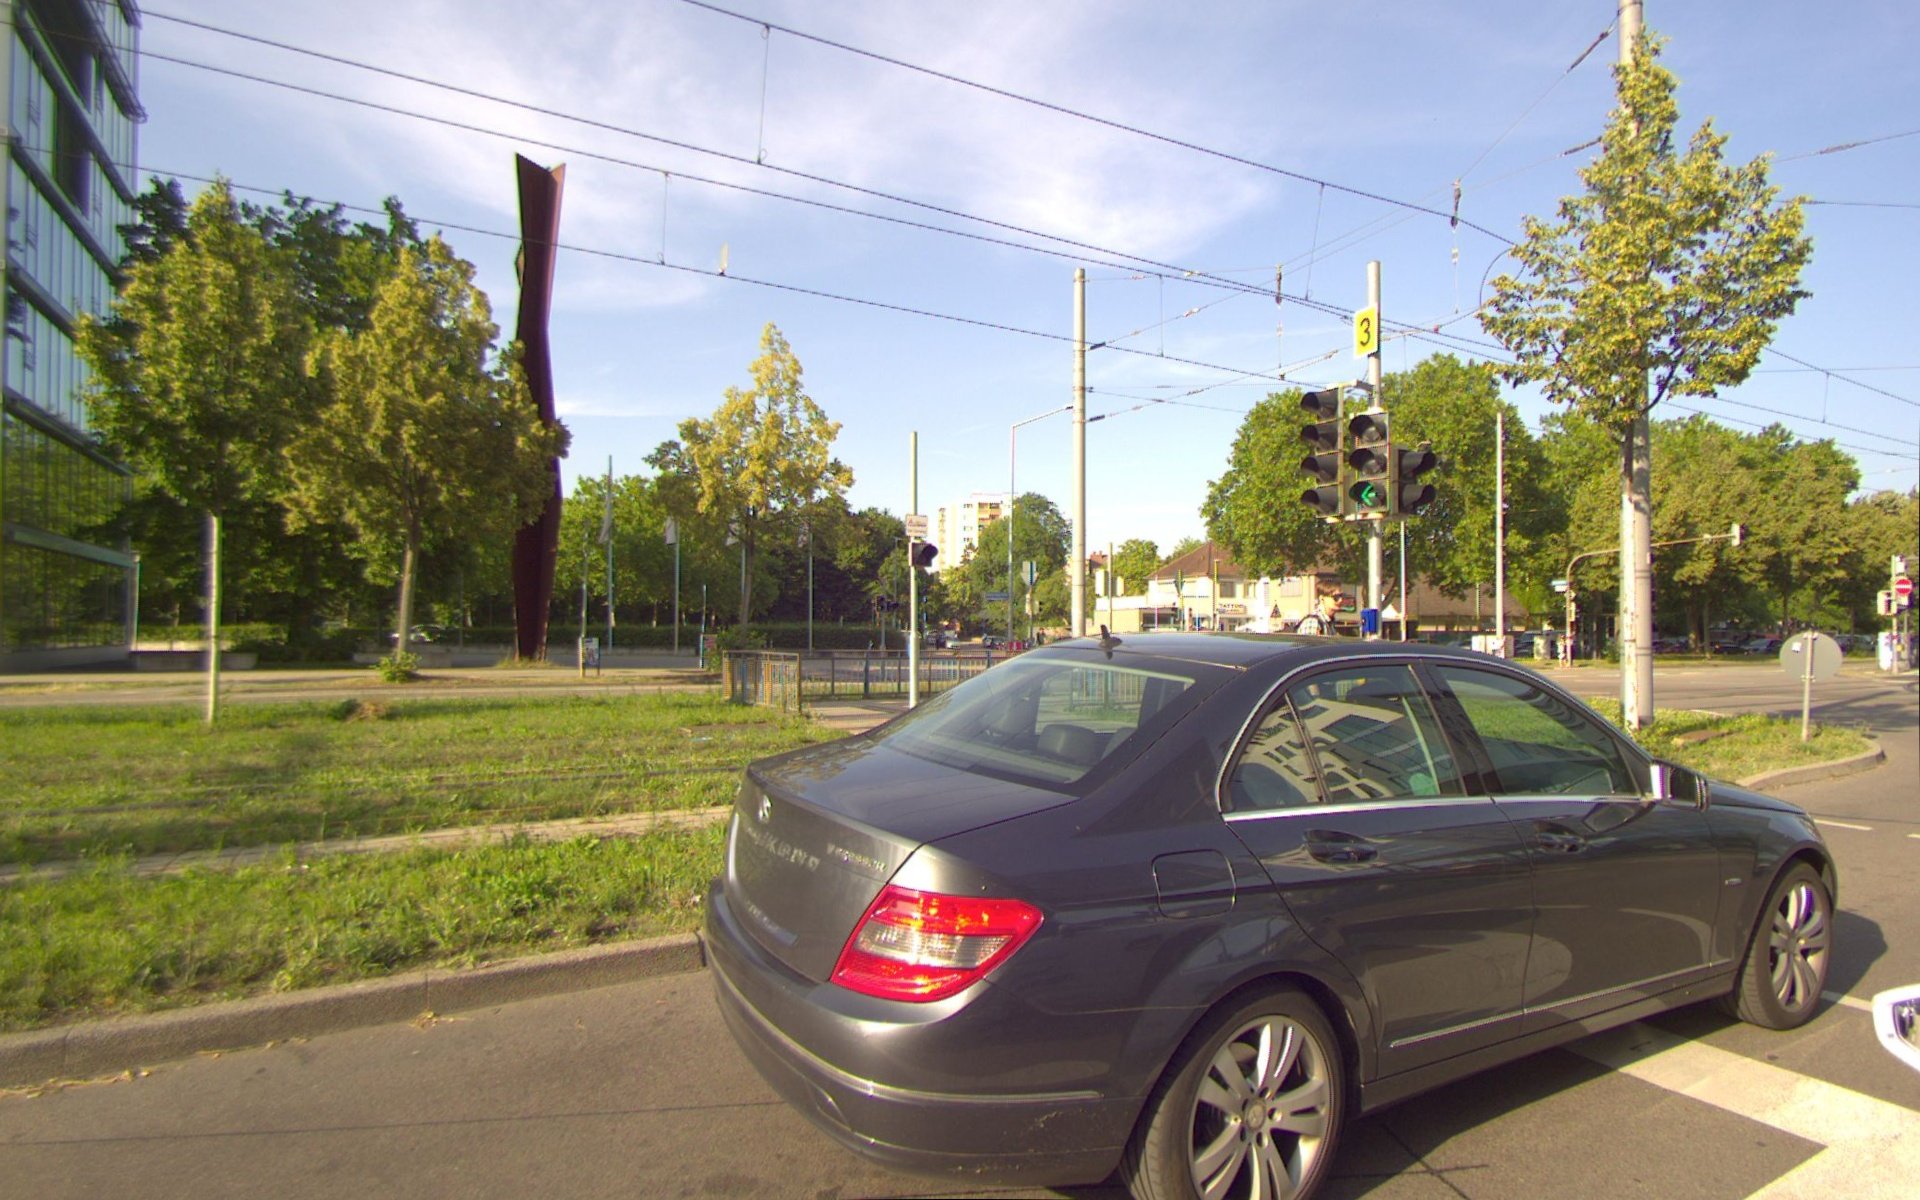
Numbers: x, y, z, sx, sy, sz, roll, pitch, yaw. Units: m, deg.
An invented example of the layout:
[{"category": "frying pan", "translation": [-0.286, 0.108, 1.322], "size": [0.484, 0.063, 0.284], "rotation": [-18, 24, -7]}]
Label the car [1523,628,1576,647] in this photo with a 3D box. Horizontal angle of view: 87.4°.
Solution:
[{"category": "car", "translation": [47.871, 3.047, 81.563], "size": [3.945, 1.580, 1.876], "rotation": [1, -2, -25]}]

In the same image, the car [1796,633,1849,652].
[{"category": "car", "translation": [72.116, 3.564, 83.969], "size": [3.945, 1.580, 1.876], "rotation": [1, -2, -25]}]

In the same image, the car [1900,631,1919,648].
[{"category": "car", "translation": [87.800, 3.592, 91.455], "size": [3.945, 1.580, 1.876], "rotation": [1, -2, -25]}]

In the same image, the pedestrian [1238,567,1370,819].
[{"category": "pedestrian", "translation": [2.624, 0.671, 7.686], "size": [0.628, 1.816, 0.696], "rotation": [1, 0, -29]}]

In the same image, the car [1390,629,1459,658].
[{"category": "car", "translation": [29.207, 2.716, 63.124], "size": [3.945, 1.773, 1.876], "rotation": [1, -2, -25]}]

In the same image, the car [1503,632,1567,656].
[{"category": "car", "translation": [38.818, 2.933, 67.813], "size": [3.945, 1.580, 1.876], "rotation": [1, -2, -25]}]

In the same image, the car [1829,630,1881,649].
[{"category": "car", "translation": [76.687, 3.363, 86.078], "size": [3.945, 1.580, 1.876], "rotation": [1, -2, -25]}]

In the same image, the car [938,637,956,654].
[{"category": "car", "translation": [-1.484, 5.118, 113.623], "size": [1.961, 1.806, 4.000], "rotation": [0, -2, -1]}]

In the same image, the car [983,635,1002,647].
[{"category": "car", "translation": [3.960, 5.053, 123.436], "size": [1.667, 1.491, 3.941], "rotation": [0, -2, -8]}]

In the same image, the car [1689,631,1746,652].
[{"category": "car", "translation": [58.618, 3.180, 77.716], "size": [3.945, 1.580, 1.876], "rotation": [1, -2, -25]}]

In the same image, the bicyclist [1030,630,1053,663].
[{"category": "bicyclist", "translation": [3.859, 2.196, 47.724], "size": [0.836, 1.512, 0.697], "rotation": [-1, -2, 38]}]

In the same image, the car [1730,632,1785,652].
[{"category": "car", "translation": [63.603, 3.328, 80.073], "size": [3.945, 1.580, 1.876], "rotation": [1, -2, -25]}]

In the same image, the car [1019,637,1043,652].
[{"category": "car", "translation": [7.052, 4.444, 100.306], "size": [1.667, 1.491, 3.941], "rotation": [0, -2, -8]}]

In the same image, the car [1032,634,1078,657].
[{"category": "car", "translation": [7.451, 3.551, 79.234], "size": [1.971, 1.750, 3.979], "rotation": [1, -2, -22]}]

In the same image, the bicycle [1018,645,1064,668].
[{"category": "bicycle", "translation": [3.844, 2.677, 47.721], "size": [2.168, 1.055, 0.697], "rotation": [-1, -2, 38]}]

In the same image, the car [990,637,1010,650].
[{"category": "car", "translation": [4.667, 5.095, 117.648], "size": [1.667, 1.491, 3.941], "rotation": [0, -2, -8]}]

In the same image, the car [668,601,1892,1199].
[{"category": "car", "translation": [1.312, 0.786, 3.658], "size": [4.299, 1.498, 1.779], "rotation": [1, 0, -29]}]

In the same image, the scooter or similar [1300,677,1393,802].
[{"category": "scooter or similar", "translation": [3.058, 1.085, 7.968], "size": [0.424, 0.919, 0.546], "rotation": [1, -2, -29]}]

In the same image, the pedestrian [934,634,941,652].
[{"category": "pedestrian", "translation": [-2.030, 3.888, 91.500], "size": [0.654, 1.654, 0.664], "rotation": [0, -1, -2]}]

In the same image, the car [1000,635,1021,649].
[{"category": "car", "translation": [5.580, 4.691, 111.819], "size": [1.667, 1.491, 3.941], "rotation": [0, -2, -8]}]

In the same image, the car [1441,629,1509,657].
[{"category": "car", "translation": [33.432, 2.769, 65.199], "size": [3.945, 1.773, 1.876], "rotation": [1, -2, -25]}]
